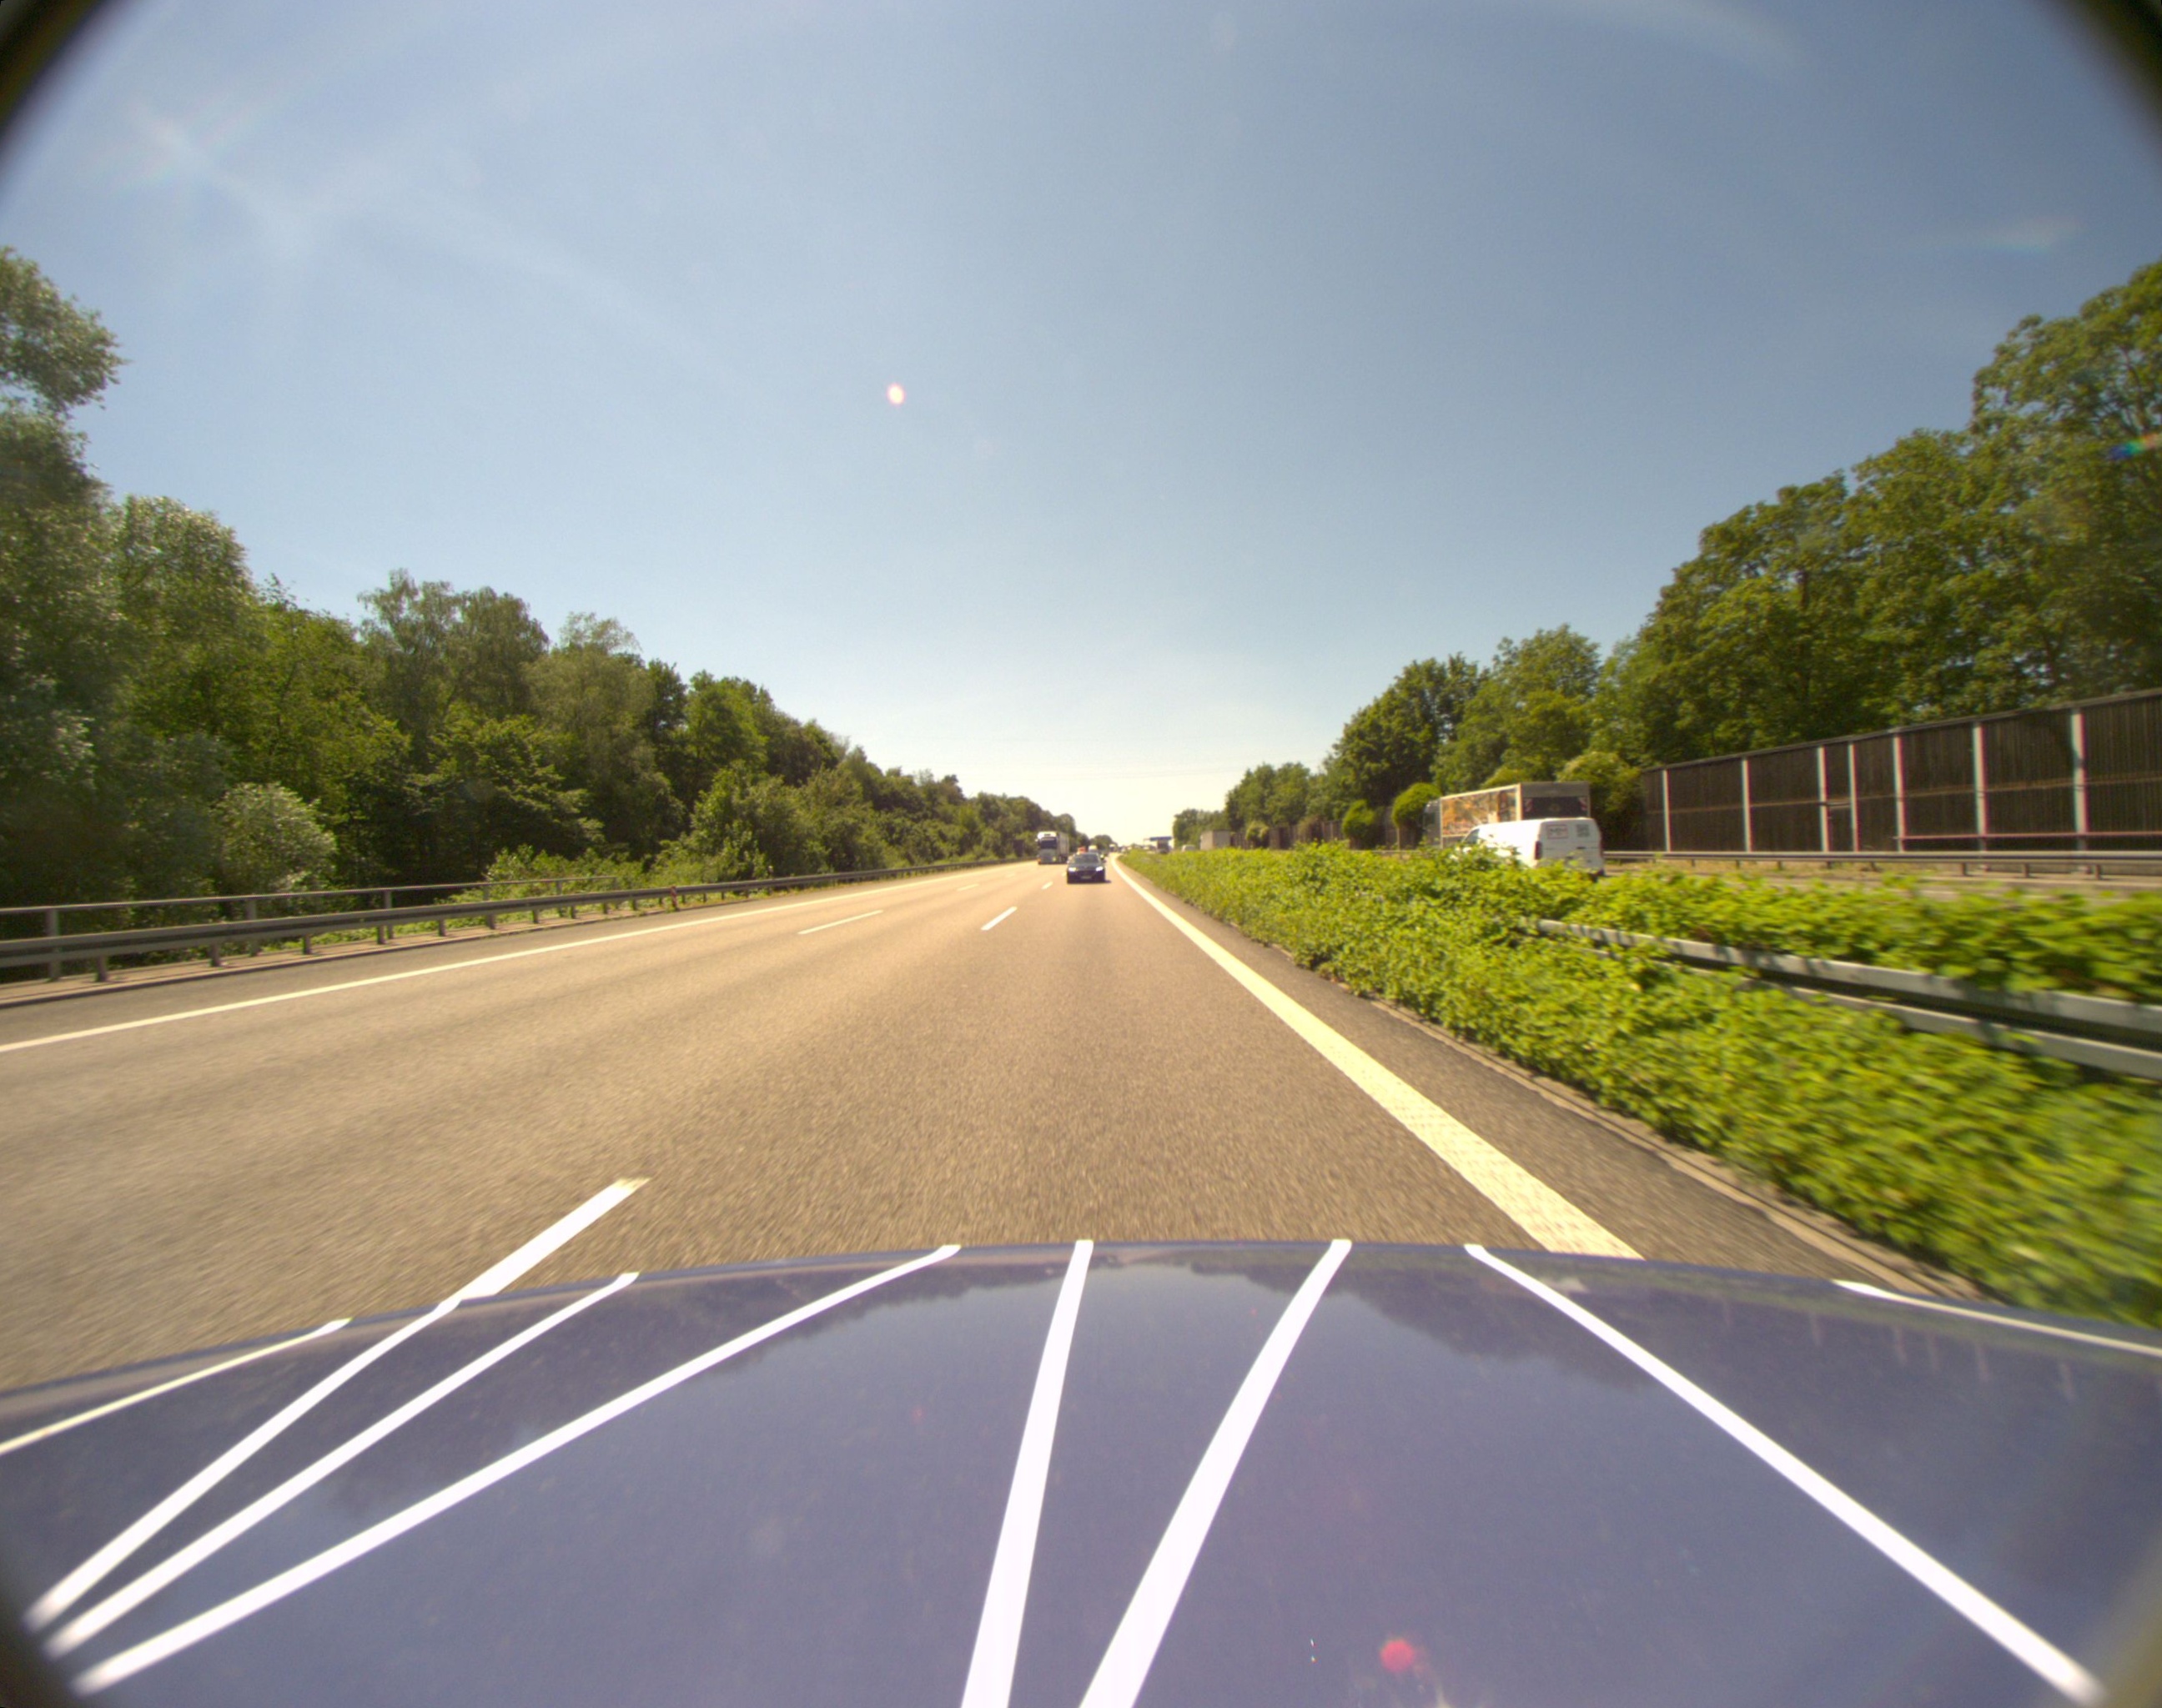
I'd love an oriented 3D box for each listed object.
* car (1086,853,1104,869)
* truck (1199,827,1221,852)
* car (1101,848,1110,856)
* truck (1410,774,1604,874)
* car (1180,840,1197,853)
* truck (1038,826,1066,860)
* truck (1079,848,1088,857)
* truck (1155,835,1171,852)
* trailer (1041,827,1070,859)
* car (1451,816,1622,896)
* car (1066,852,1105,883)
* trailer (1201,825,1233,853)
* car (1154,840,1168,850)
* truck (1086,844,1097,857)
[{"bbox_3d":[1.497,0.698,81.048,1.862,1.614,3.737,-2,0,1],"label":"car"},{"bbox_3d":[20.933,-2.319,123.366,2.693,3.872,5.573,-2,1,1],"label":"truck"},{"bbox_3d":[5.652,-0.476,173.318,1.879,1.630,4.000,-2,0,2],"label":"car"},{"bbox_3d":[17.708,-1.139,32.679,2.877,3.584,9.951,-2,1,1],"label":"truck"},{"bbox_3d":[16.035,-1.076,113.762,1.872,1.809,4.817,-2,1,1],"label":"car"},{"bbox_3d":[-3.570,-1.356,94.244,2.729,3.952,6.502,-2,1,3],"label":"truck"},{"bbox_3d":[0.754,-0.365,212.519,2.437,2.426,10.009,-2,0,1],"label":"truck"},{"bbox_3d":[15.476,-2.004,143.985,2.199,3.096,8.534,-2,0,2],"label":"truck"},{"bbox_3d":[-3.257,-1.407,100.918,2.746,3.952,13.655,-2,0,3],"label":"trailer"},{"bbox_3d":[12.990,0.038,22.134,1.998,2.002,5.102,-2,1,2],"label":"car"},{"bbox_3d":[0.308,0.636,38.468,1.800,1.390,4.833,-2,0,2],"label":"car"},{"bbox_3d":[20.723,-2.222,116.368,2.736,3.887,13.761,-2,0,2],"label":"trailer"},{"bbox_3d":[11.517,-1.232,109.212,1.630,1.382,3.913,-2,1,0],"label":"car"},{"bbox_3d":[2.710,-0.972,196.336,2.859,3.163,10.711,-1,0,1],"label":"truck"}]
